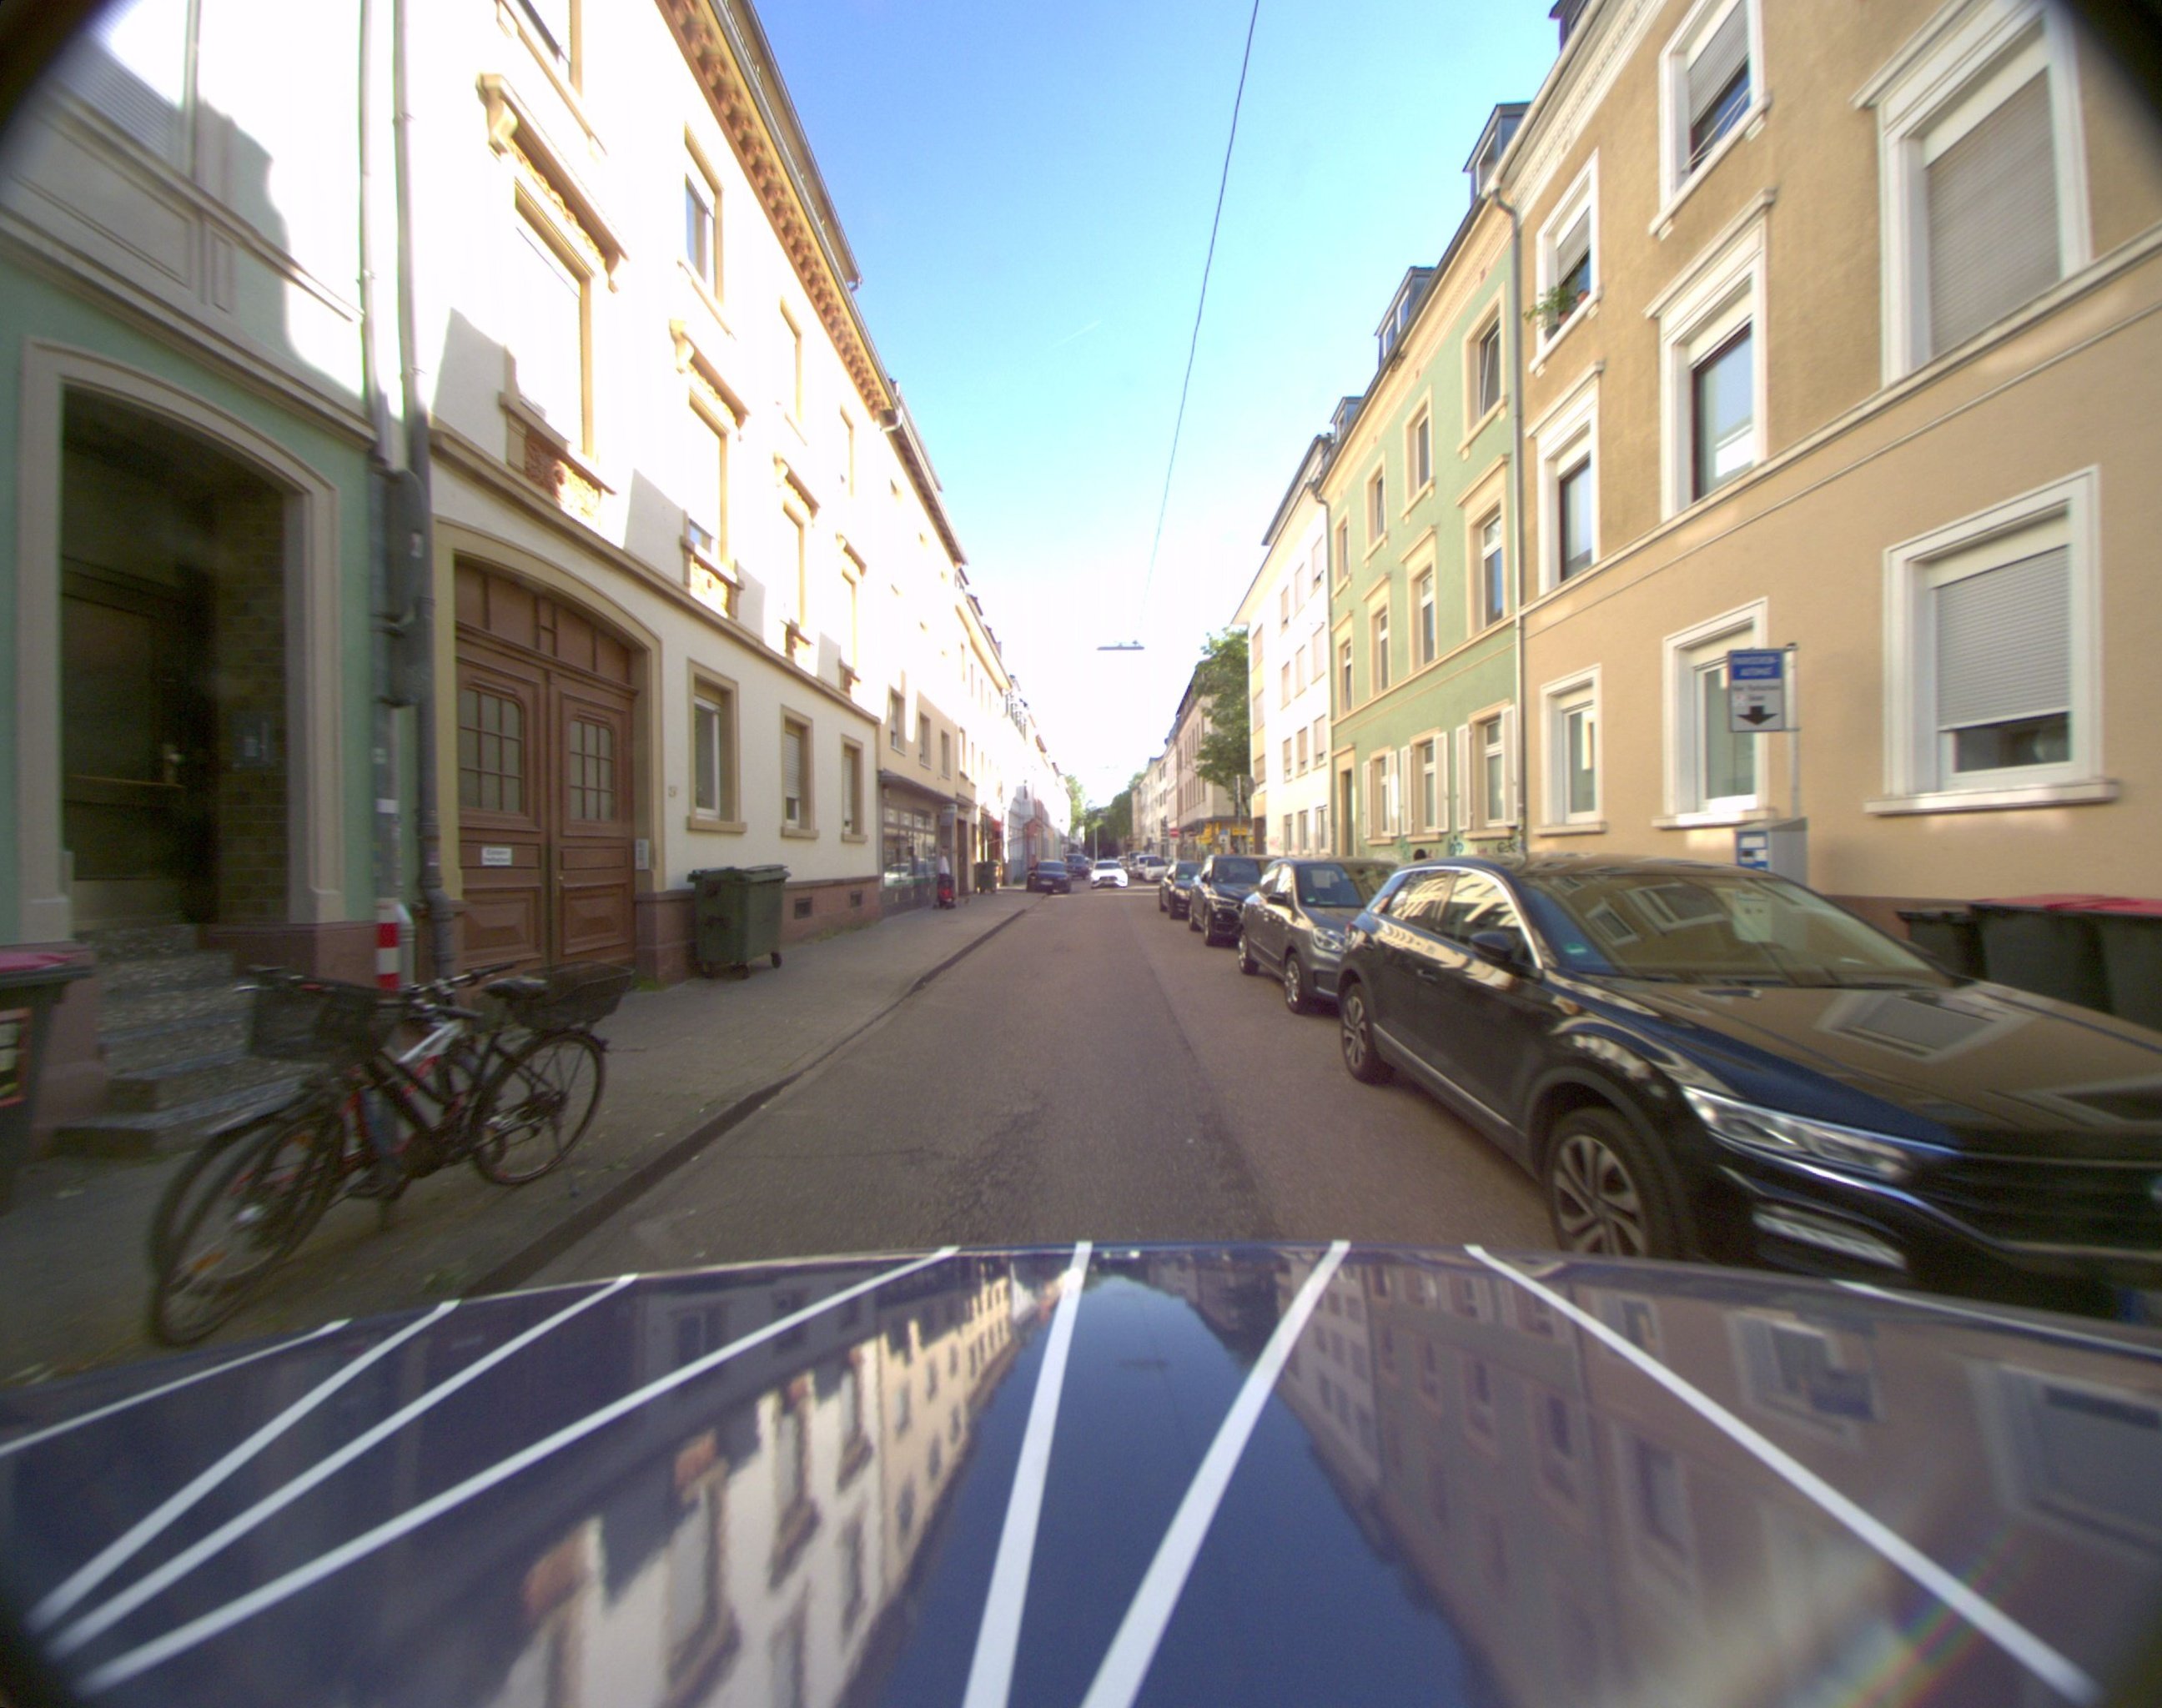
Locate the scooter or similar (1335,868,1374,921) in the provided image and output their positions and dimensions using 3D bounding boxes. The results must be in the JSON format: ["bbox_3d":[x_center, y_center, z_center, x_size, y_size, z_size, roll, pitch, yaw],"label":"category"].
[{"bbox_3d":[6.597,0.945,18.392,0.455,1.175,1.691,-1,1,4],"label":"scooter or similar"}]

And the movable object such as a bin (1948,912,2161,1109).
[{"bbox_3d":[6.157,0.924,4.724,0.737,1.082,0.683,-1,-1,-2],"label":"movable object such as a bin"}]

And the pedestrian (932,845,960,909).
[{"bbox_3d":[-4.015,0.676,22.618,0.651,1.849,0.747,1,0,-20],"label":"pedestrian"}]

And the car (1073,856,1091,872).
[{"bbox_3d":[0.117,0.968,78.028,1.744,1.534,4.051,-1,1,2],"label":"car"}]

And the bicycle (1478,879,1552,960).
[{"bbox_3d":[6.462,0.934,11.398,0.361,1.023,1.919,0,1,11],"label":"bicycle"}]

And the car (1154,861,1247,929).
[{"bbox_3d":[3.027,0.969,20.159,1.718,1.480,4.852,2,0,1],"label":"car"}]

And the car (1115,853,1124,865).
[{"bbox_3d":[6.613,0.892,130.699,1.585,1.971,4.068,-1,1,2],"label":"car"}]

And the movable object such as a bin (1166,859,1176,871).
[{"bbox_3d":[8.245,0.973,69.662,0.787,1.066,0.696,-1,1,-3],"label":"movable object such as a bin"}]

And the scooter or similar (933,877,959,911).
[{"bbox_3d":[-3.842,1.133,21.652,0.491,0.939,0.869,1,0,8],"label":"scooter or similar"}]

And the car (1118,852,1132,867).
[{"bbox_3d":[6.403,0.739,111.000,1.913,2.076,4.697,-1,0,2],"label":"car"}]

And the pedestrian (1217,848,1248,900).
[{"bbox_3d":[5.482,0.693,27.527,0.913,1.822,1.245,-1,1,1],"label":"pedestrian"}]

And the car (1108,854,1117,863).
[{"bbox_3d":[6.615,0.909,160.356,1.786,1.674,4.022,-1,1,2],"label":"car"}]

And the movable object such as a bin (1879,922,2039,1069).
[{"bbox_3d":[6.273,0.990,5.452,0.474,0.932,0.561,-2,0,-1],"label":"movable object such as a bin"}]

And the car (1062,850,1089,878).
[{"bbox_3d":[-0.416,0.778,60.360,1.975,2.017,4.899,-2,0,1],"label":"car"}]

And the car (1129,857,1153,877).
[{"bbox_3d":[4.839,1.008,61.757,1.669,1.514,4.489,1,0,1],"label":"car"}]

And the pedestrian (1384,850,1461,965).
[{"bbox_3d":[5.316,0.805,11.880,0.766,1.704,0.883,-2,1,1],"label":"pedestrian"}]

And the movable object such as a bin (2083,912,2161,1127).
[{"bbox_3d":[6.157,0.900,4.103,0.721,1.125,0.584,-1,1,-2],"label":"movable object such as a bin"}]

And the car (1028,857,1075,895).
[{"bbox_3d":[-1.306,0.972,35.419,1.805,1.570,4.897,-2,0,2],"label":"car"}]

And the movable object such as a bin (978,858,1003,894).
[{"bbox_3d":[-3.720,0.896,31.273,0.748,1.428,1.372,2,1,3],"label":"movable object such as a bin"}]

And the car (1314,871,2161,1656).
[{"bbox_3d":[2.577,0.902,3.740,1.717,1.522,4.367,0,0,3],"label":"car"}]

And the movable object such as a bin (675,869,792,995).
[{"bbox_3d":[-4.281,0.920,9.466,0.839,1.382,1.296,2,2,0],"label":"movable object such as a bin"}]

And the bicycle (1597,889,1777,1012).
[{"bbox_3d":[6.314,0.946,8.051,0.403,1.050,1.836,-1,1,-1],"label":"bicycle"}]

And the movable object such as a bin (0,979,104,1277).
[{"bbox_3d":[-4.521,1.072,2.877,0.798,1.090,0.642,-1,1,4],"label":"movable object such as a bin"}]

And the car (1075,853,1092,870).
[{"bbox_3d":[0.361,0.842,91.136,1.898,1.875,4.458,-1,1,2],"label":"car"}]

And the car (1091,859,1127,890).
[{"bbox_3d":[1.444,1.036,39.759,1.761,1.399,4.022,-1,1,2],"label":"car"}]

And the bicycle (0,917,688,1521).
[{"bbox_3d":[-2.488,0.996,2.995,0.576,1.313,2.200,0,0,5],"label":"bicycle"}]

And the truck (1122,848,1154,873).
[{"bbox_3d":[5.388,0.553,73.113,2.171,2.295,6.345,1,1,-4],"label":"truck"}]

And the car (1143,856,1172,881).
[{"bbox_3d":[4.972,0.891,49.529,1.671,1.551,3.722,-1,0,2],"label":"car"}]

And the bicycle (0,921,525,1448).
[{"bbox_3d":[-3.152,0.976,2.691,0.576,1.263,2.200,1,0,5],"label":"bicycle"}]

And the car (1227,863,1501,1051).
[{"bbox_3d":[2.807,0.909,8.503,1.619,1.544,3.978,-1,0,1],"label":"car"}]

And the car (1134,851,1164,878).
[{"bbox_3d":[4.932,0.772,55.750,1.771,1.887,4.809,1,0,0],"label":"car"}]

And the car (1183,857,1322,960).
[{"bbox_3d":[3.010,0.871,14.296,1.748,1.605,4.604,0,0,2],"label":"car"}]
